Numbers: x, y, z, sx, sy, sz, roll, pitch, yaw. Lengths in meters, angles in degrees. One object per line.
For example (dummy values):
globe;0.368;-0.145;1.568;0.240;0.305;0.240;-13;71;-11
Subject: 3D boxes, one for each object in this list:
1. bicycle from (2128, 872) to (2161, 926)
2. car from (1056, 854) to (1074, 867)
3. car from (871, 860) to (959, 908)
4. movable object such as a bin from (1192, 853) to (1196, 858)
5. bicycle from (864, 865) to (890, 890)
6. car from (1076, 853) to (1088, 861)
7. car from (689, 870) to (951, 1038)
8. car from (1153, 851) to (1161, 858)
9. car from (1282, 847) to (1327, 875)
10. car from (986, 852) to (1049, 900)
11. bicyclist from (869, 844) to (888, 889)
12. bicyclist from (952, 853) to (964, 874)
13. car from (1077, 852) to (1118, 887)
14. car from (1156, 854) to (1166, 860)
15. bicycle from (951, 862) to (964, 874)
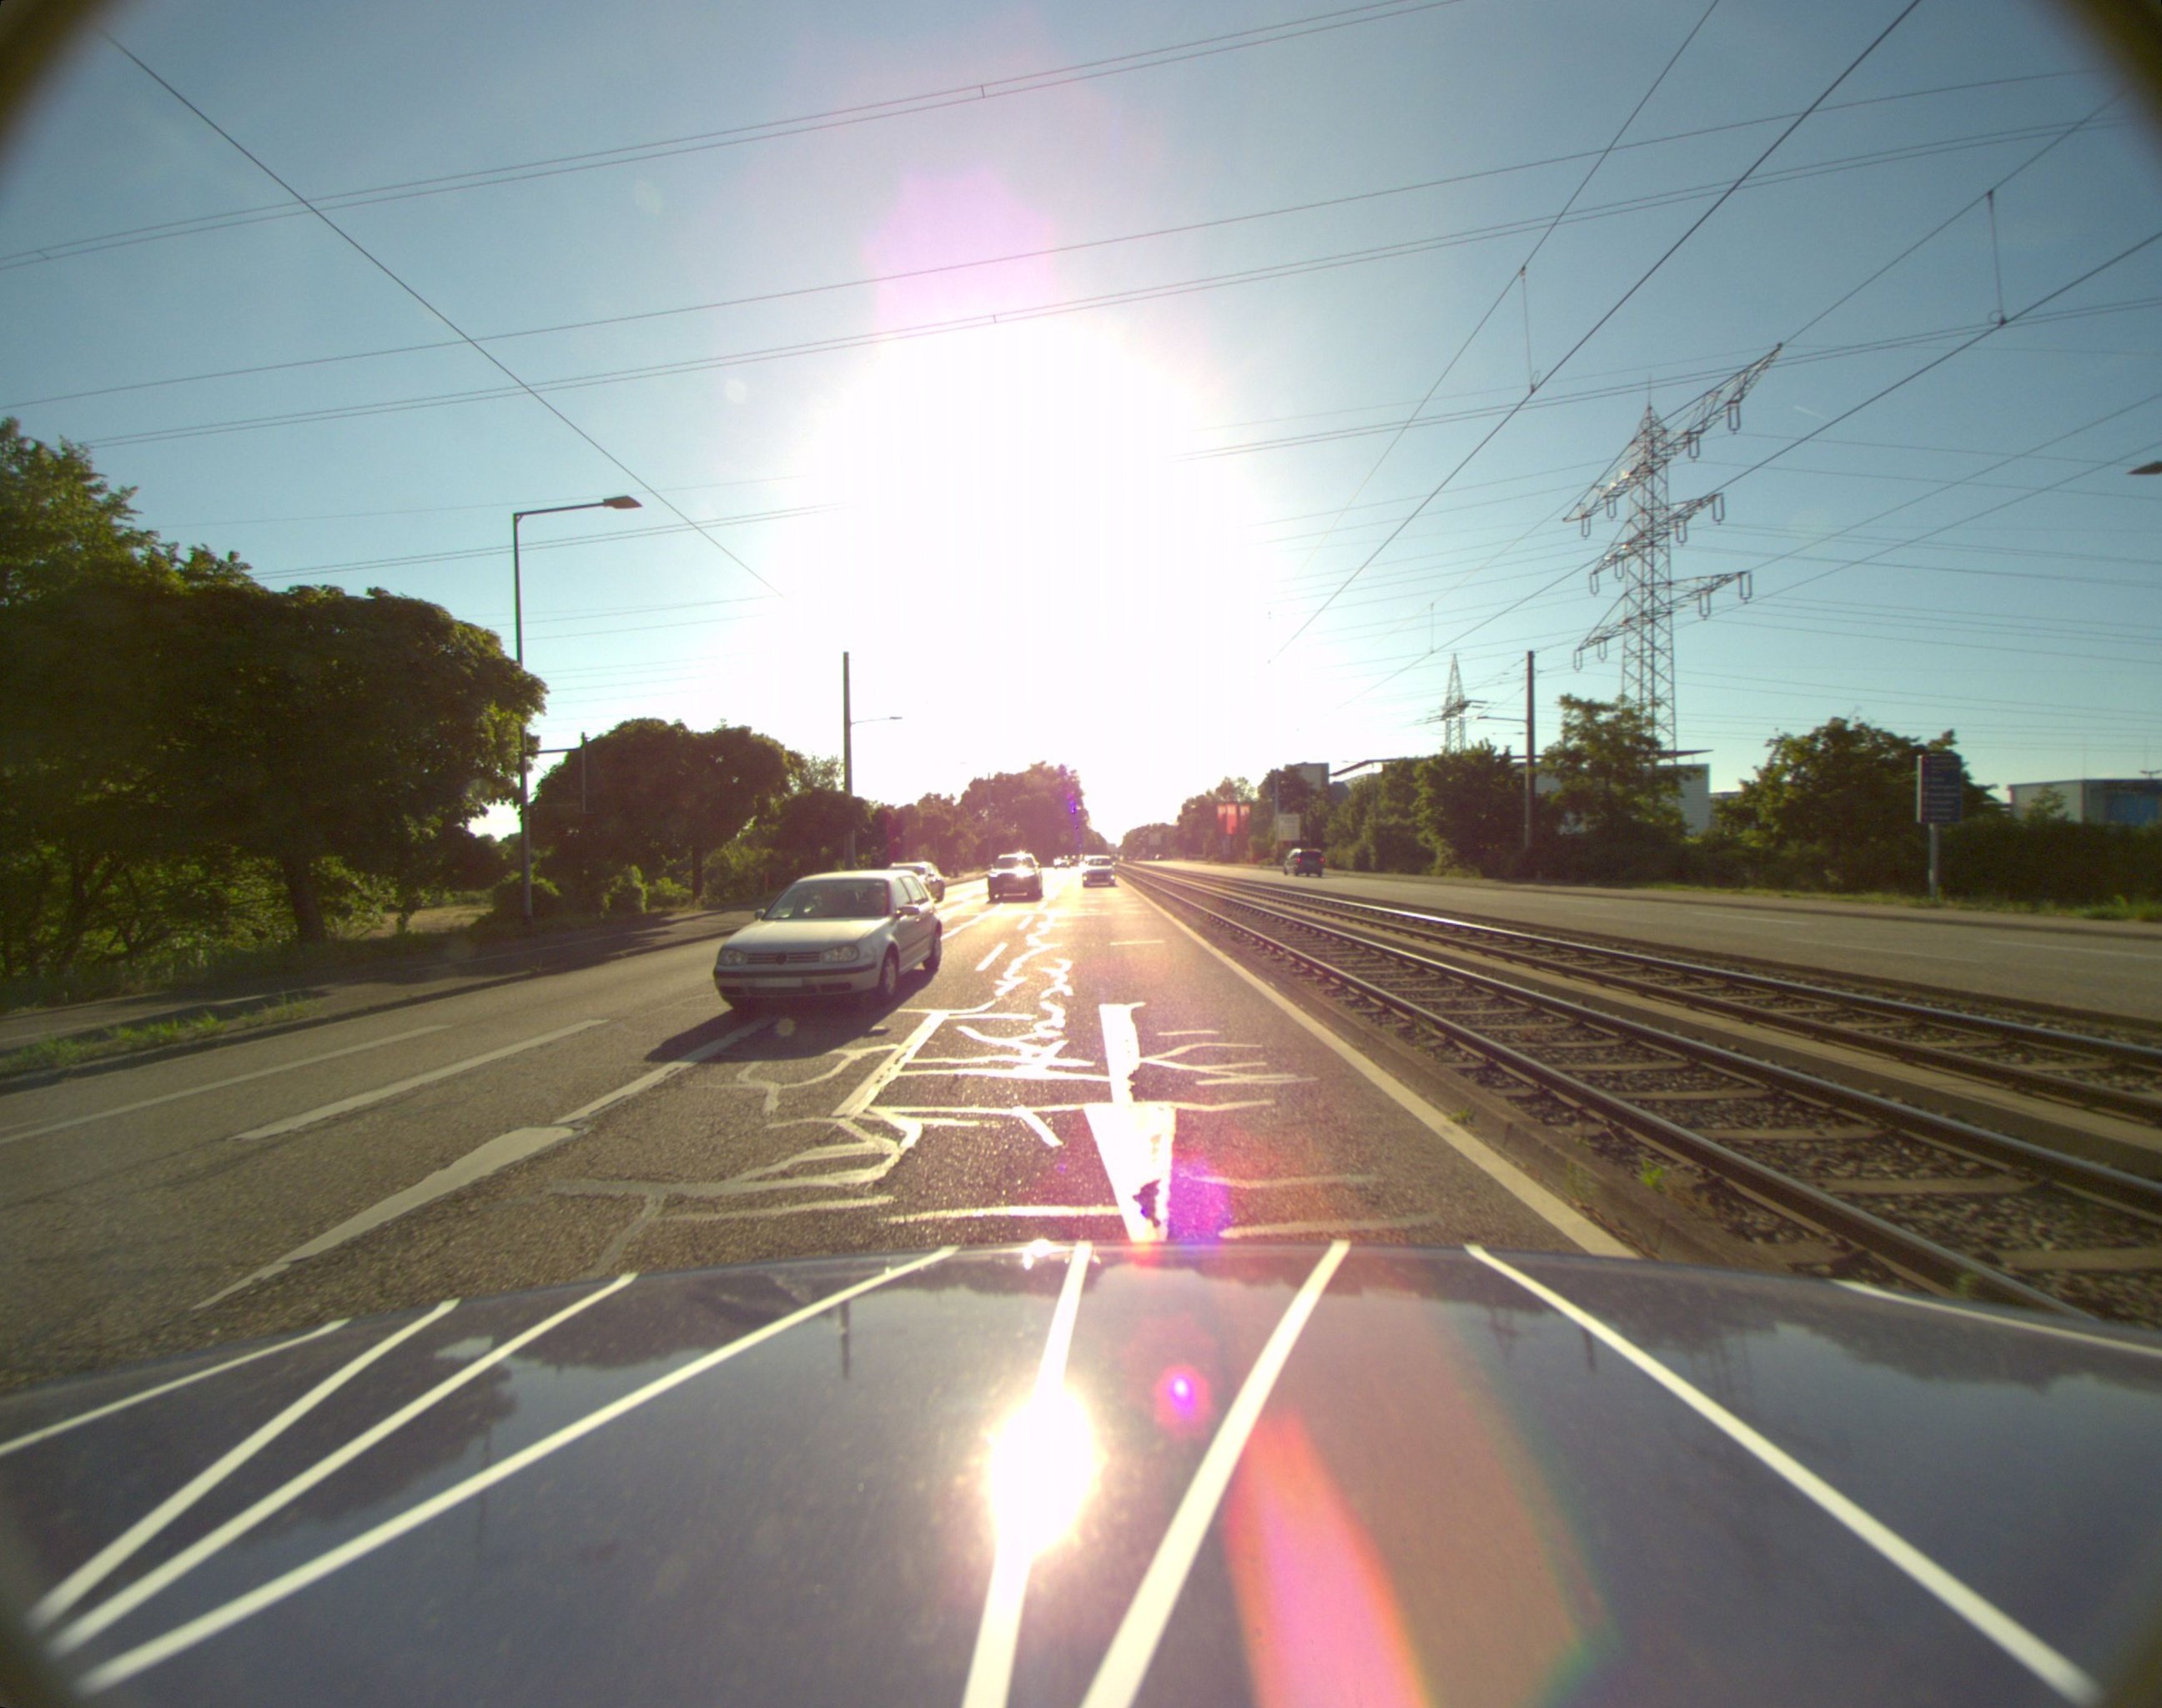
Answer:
bicycle;21.027;0.872;13.949;0.591;1.016;2.185;-1;1;0
car;-1.875;0.780;91.006;1.881;1.449;4.416;-1;1;2
car;-5.830;0.998;27.369;1.881;1.435;4.660;-1;1;3
movable object such as a bin;23.031;0.287;154.596;0.614;0.960;1.083;-3;1;1
bicycle;-9.349;1.058;34.843;0.528;1.054;1.971;-3;1;2
car;0.179;0.564;147.412;1.880;1.449;4.417;-1;1;4
car;-2.858;1.009;9.320;1.695;1.437;4.001;-2;1;2
car;22.750;0.146;228.262;1.998;1.785;4.349;0;1;1
car;16.267;0.528;55.528;1.998;1.911;4.863;0;-2;2
car;-2.363;0.776;29.328;1.881;1.591;4.416;-1;1;2
bicyclist;-9.364;0.575;35.126;0.528;2.005;0.729;-3;1;2
bicyclist;-8.947;0.706;55.341;0.628;1.463;1.060;2;1;2
car;0.876;0.720;38.508;1.881;1.591;4.416;-1;1;2
car;21.003;0.829;199.629;1.999;1.616;4.682;0;1;-1
bicycle;-8.967;1.029;55.291;0.628;0.829;1.635;2;1;2
